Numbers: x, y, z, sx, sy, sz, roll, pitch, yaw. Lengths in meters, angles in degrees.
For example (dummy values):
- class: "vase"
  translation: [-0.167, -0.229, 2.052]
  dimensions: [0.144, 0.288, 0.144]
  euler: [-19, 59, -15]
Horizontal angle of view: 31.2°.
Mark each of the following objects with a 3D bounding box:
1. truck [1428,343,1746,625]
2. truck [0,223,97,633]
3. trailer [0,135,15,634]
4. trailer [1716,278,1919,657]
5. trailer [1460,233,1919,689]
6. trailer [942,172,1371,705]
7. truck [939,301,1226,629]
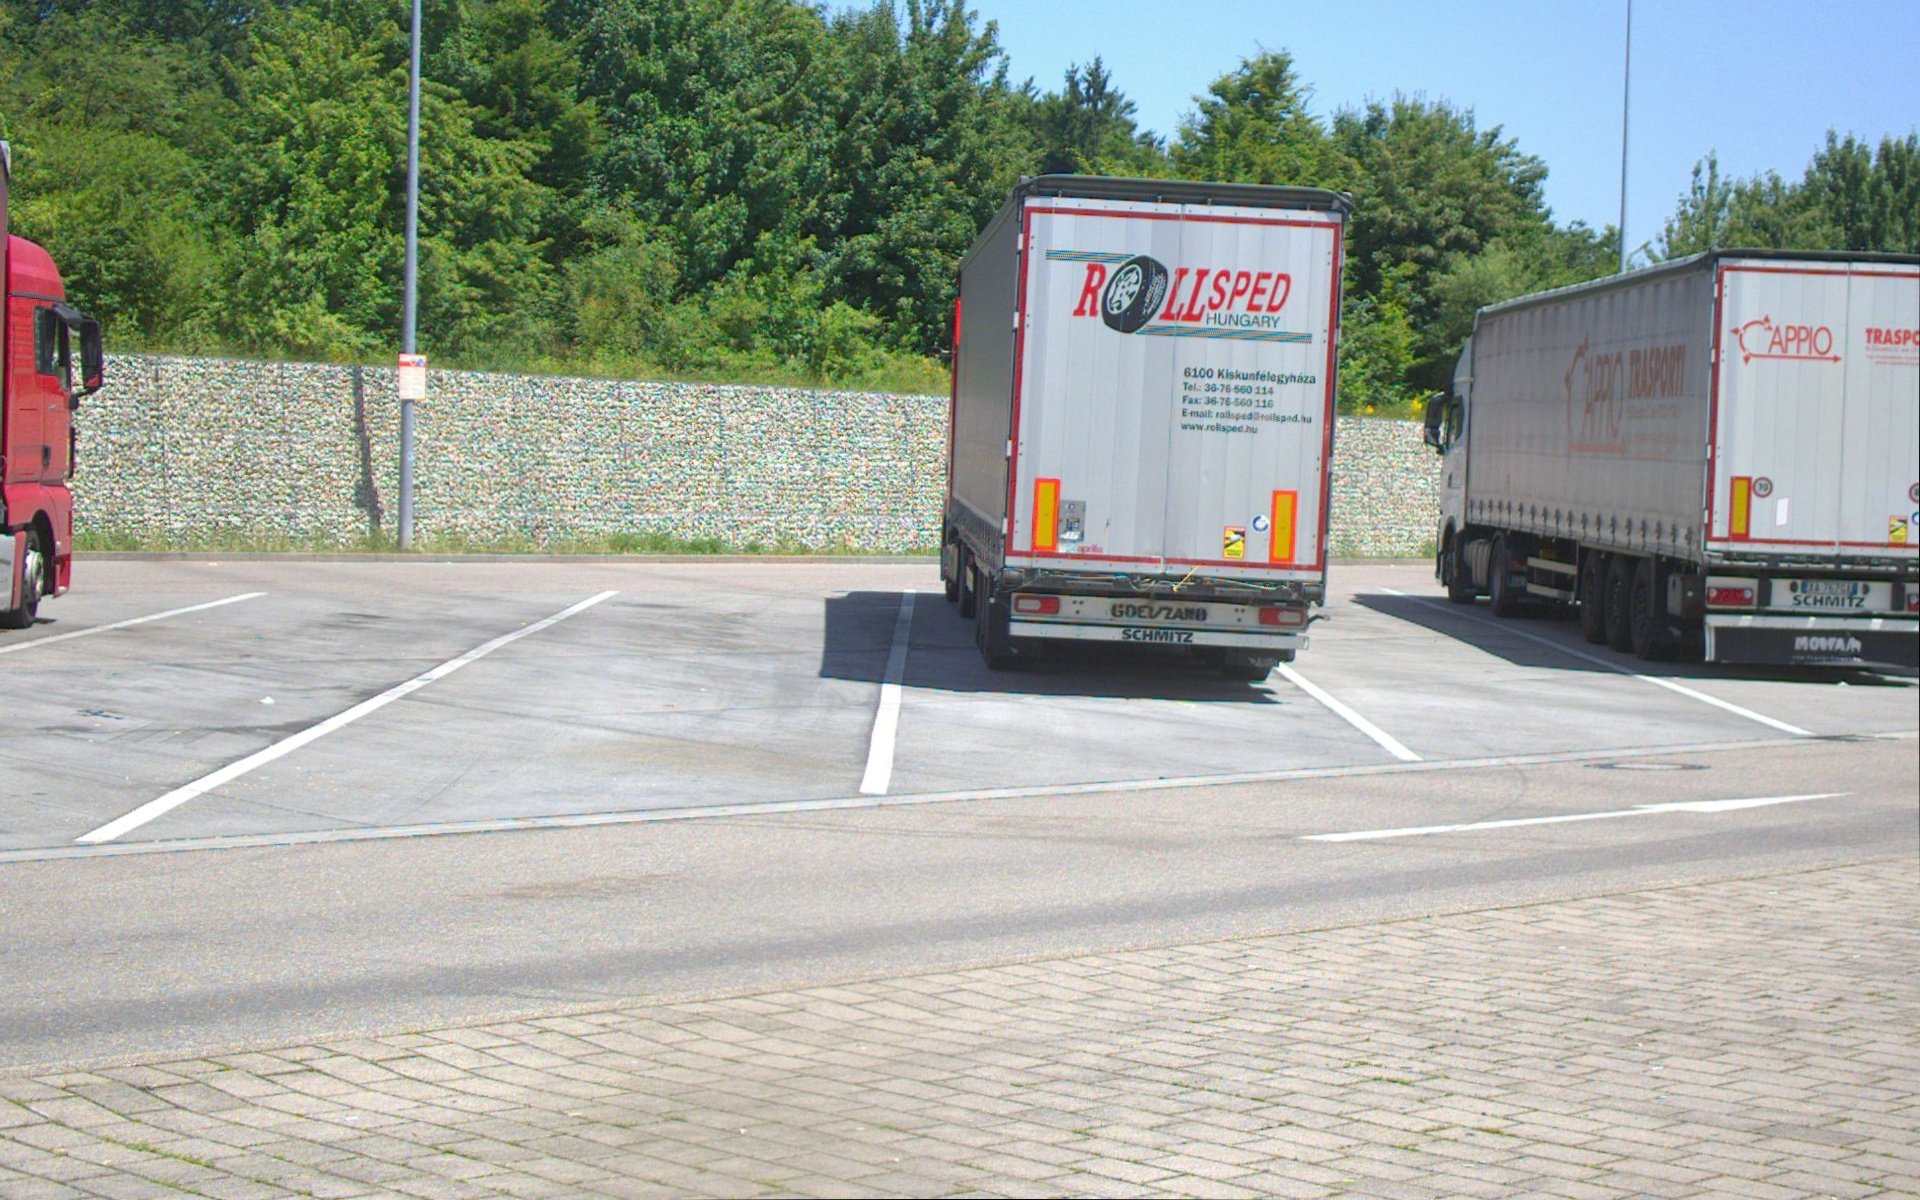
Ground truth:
- class: "truck"
  translation: [8.089, -1.568, 45.135]
  dimensions: [2.865, 3.351, 5.975]
  euler: [2, 3, -1]
- class: "truck"
  translation: [-9.248, -1.453, 28.192]
  dimensions: [2.812, 3.351, 5.975]
  euler: [2, 3, -1]
- class: "trailer"
  translation: [-9.160, -1.463, 21.373]
  dimensions: [2.821, 4.057, 13.765]
  euler: [2, 3, -1]
- class: "trailer"
  translation: [11.788, -1.503, 39.382]
  dimensions: [2.858, 4.095, 13.765]
  euler: [2, 3, -1]
- class: "trailer"
  translation: [8.191, -1.588, 38.369]
  dimensions: [2.858, 4.095, 13.765]
  euler: [2, 3, -1]
- class: "trailer"
  translation: [1.462, -1.566, 33.115]
  dimensions: [2.858, 3.958, 13.765]
  euler: [2, 3, -1]
- class: "truck"
  translation: [1.278, -1.571, 39.316]
  dimensions: [2.865, 3.351, 5.975]
  euler: [2, 3, -1]
